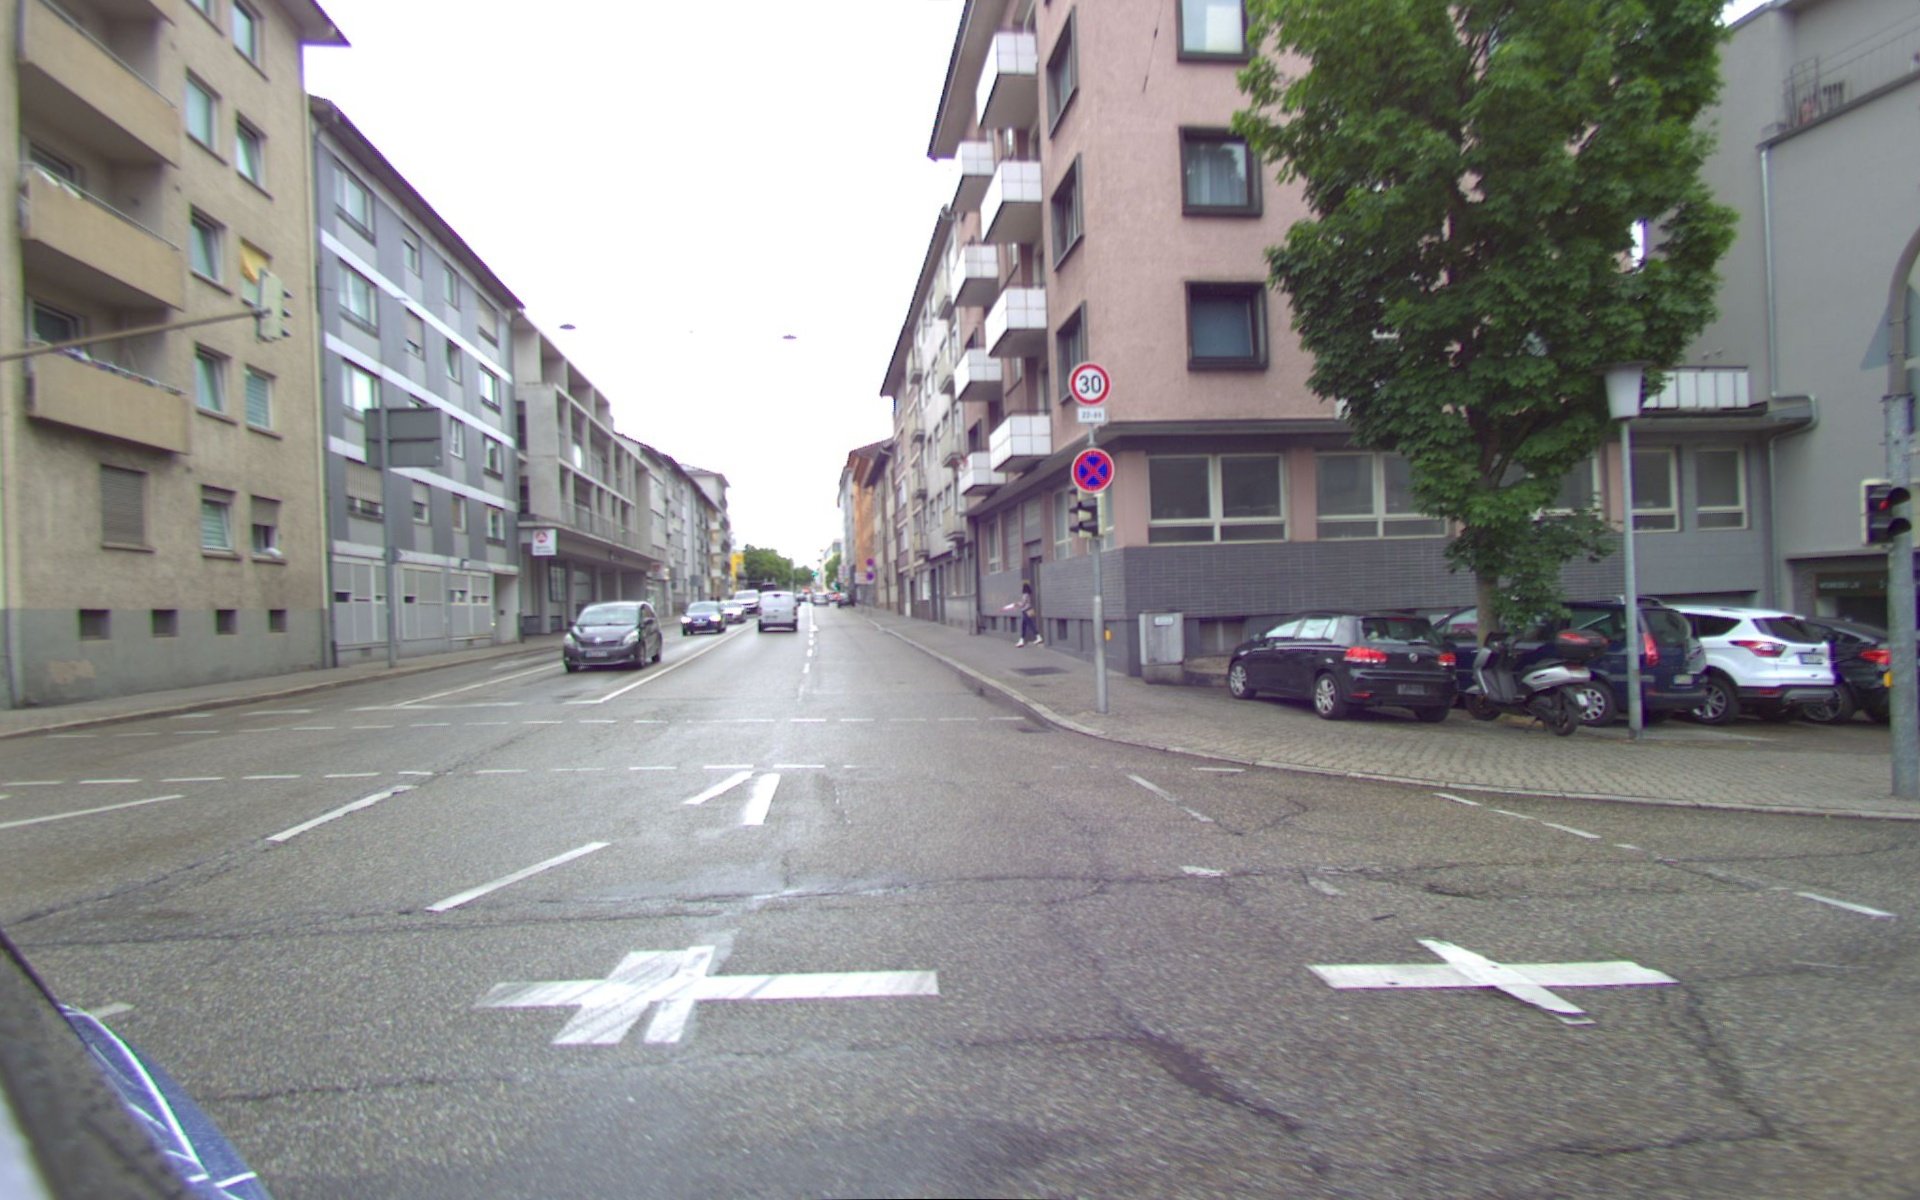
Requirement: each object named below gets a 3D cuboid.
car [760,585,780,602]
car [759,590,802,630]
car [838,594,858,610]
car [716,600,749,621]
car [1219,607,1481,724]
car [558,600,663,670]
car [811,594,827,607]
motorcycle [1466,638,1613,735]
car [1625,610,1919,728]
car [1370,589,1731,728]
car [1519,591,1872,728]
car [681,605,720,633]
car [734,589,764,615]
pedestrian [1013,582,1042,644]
[{"bbox_3d":[-20.981,-0.758,111.757,1.824,1.674,3.684,-3,1,-6],"label":"car"},{"bbox_3d":[-8.207,0.435,46.415,1.783,1.728,4.555,1,0,-9],"label":"car"},{"bbox_3d":[-11.447,0.193,103.185,1.681,1.466,3.814,-3,1,-11],"label":"car"},{"bbox_3d":[-13.551,0.598,60.431,1.524,1.076,3.100,-3,1,-6],"label":"car"},{"bbox_3d":[5.476,0.850,14.816,1.710,1.370,4.009,1,1,-10],"label":"car"},{"bbox_3d":[-8.428,0.805,24.700,1.705,1.492,4.080,-2,0,-9],"label":"car"},{"bbox_3d":[-16.159,0.060,116.136,1.705,1.471,4.081,1,1,-9],"label":"car"},{"bbox_3d":[7.262,1.051,12.780,0.446,1.040,1.800,0,1,-17],"label":"motorcycle"},{"bbox_3d":[13.163,1.006,16.046,1.828,1.507,4.013,2,0,-22],"label":"car"},{"bbox_3d":[8.635,0.762,15.239,1.743,1.741,4.360,3,0,-30],"label":"car"},{"bbox_3d":[11.105,0.844,15.630,1.828,1.807,4.013,3,-2,-24],"label":"car"},{"bbox_3d":[-11.731,0.827,45.832,1.665,1.157,4.011,0,1,-14],"label":"car"},{"bbox_3d":[-15.173,0.144,72.909,1.696,1.674,3.684,-3,1,-6],"label":"car"},{"bbox_3d":[1.766,0.329,26.480,0.450,1.569,0.524,1,7,37],"label":"pedestrian"}]
